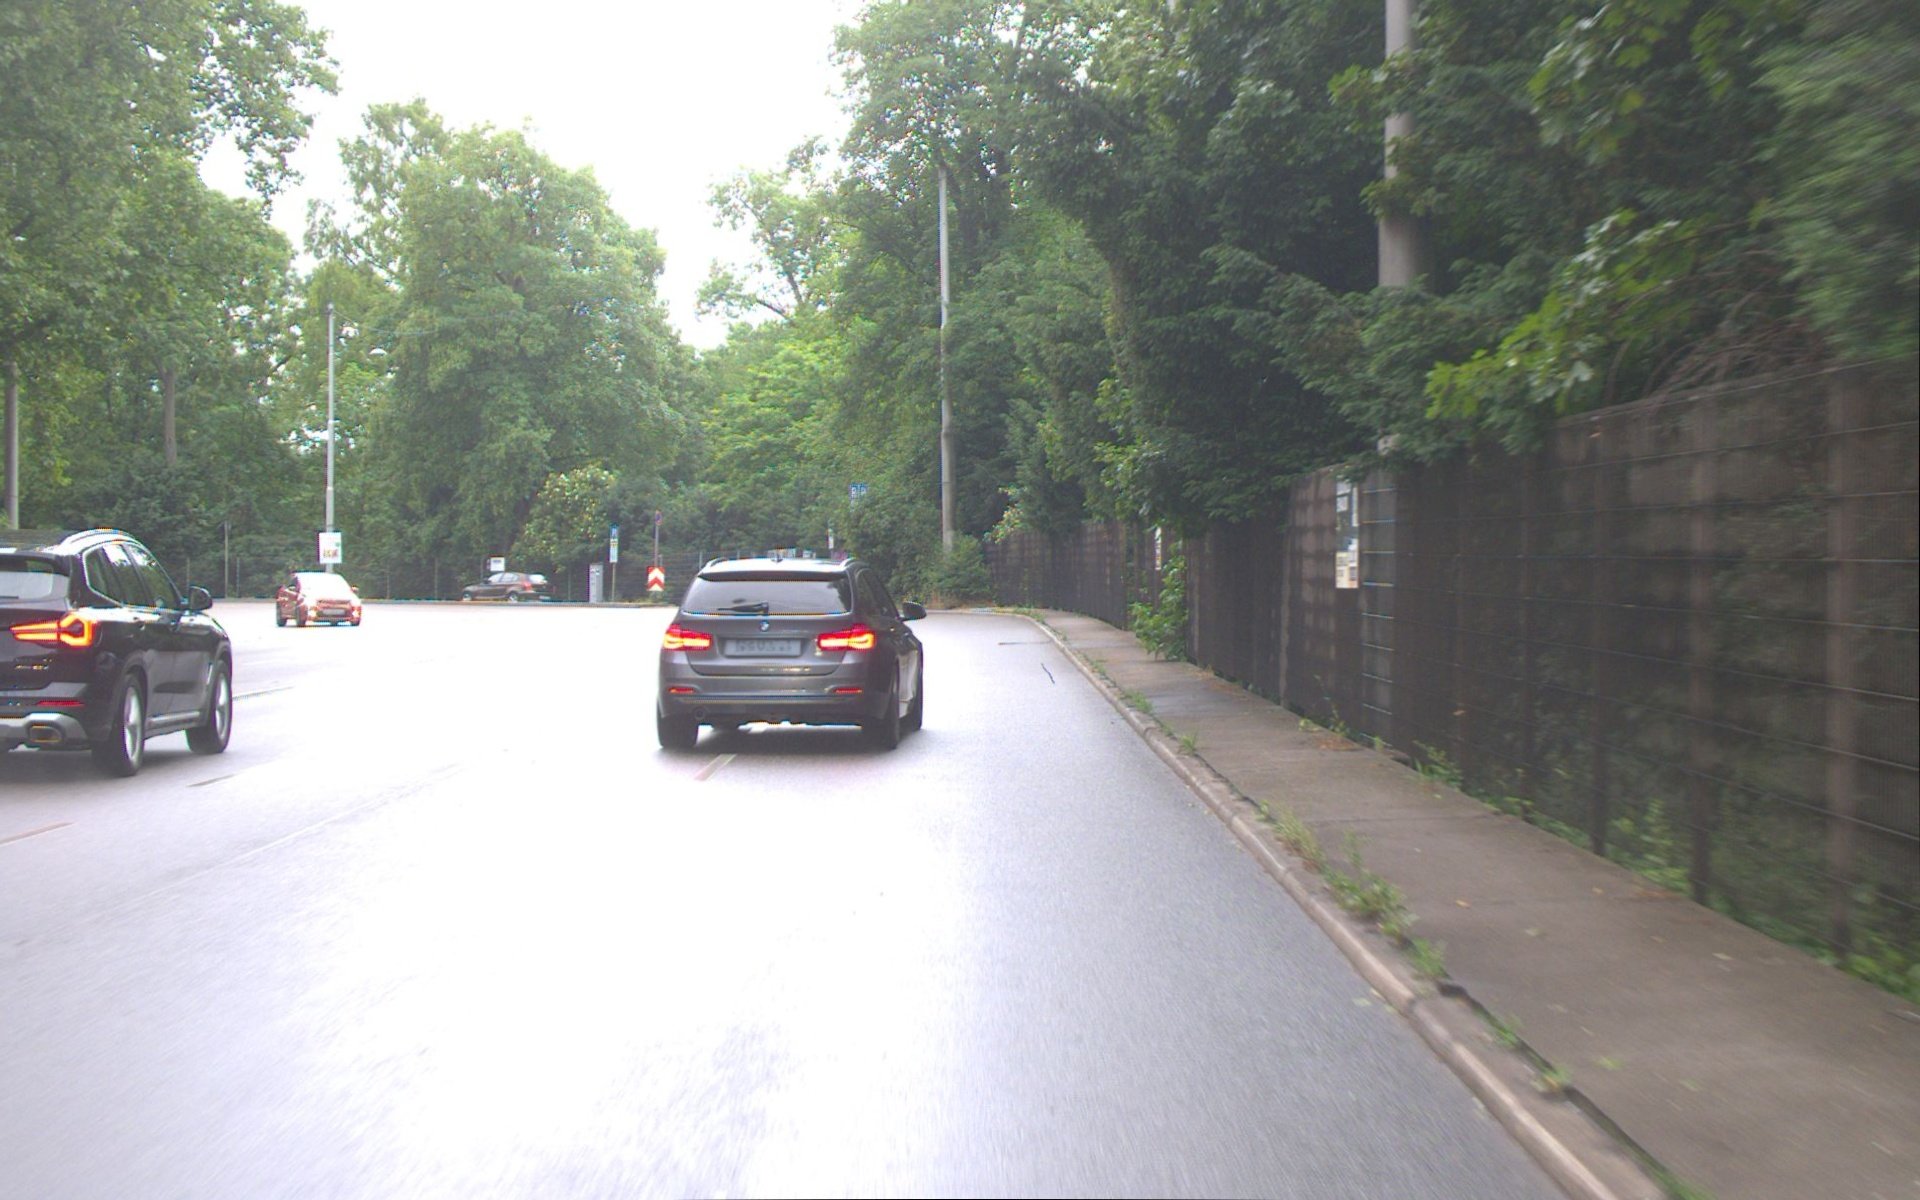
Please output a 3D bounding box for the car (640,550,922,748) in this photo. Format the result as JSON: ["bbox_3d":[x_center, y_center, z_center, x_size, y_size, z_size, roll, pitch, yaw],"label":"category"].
[{"bbox_3d":[-1.318,0.334,27.065,1.758,1.428,4.412,0,1,3],"label":"car"}]

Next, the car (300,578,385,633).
[{"bbox_3d":[-16.629,0.125,92.698,1.580,1.409,3.962,0,1,0],"label":"car"}]

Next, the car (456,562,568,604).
[{"bbox_3d":[-16.607,-0.638,127.280,4.368,1.422,1.688,1,-2,43],"label":"car"}]

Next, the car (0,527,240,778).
[{"bbox_3d":[-6.330,0.297,23.973,1.757,1.580,4.413,1,1,-1],"label":"car"}]
